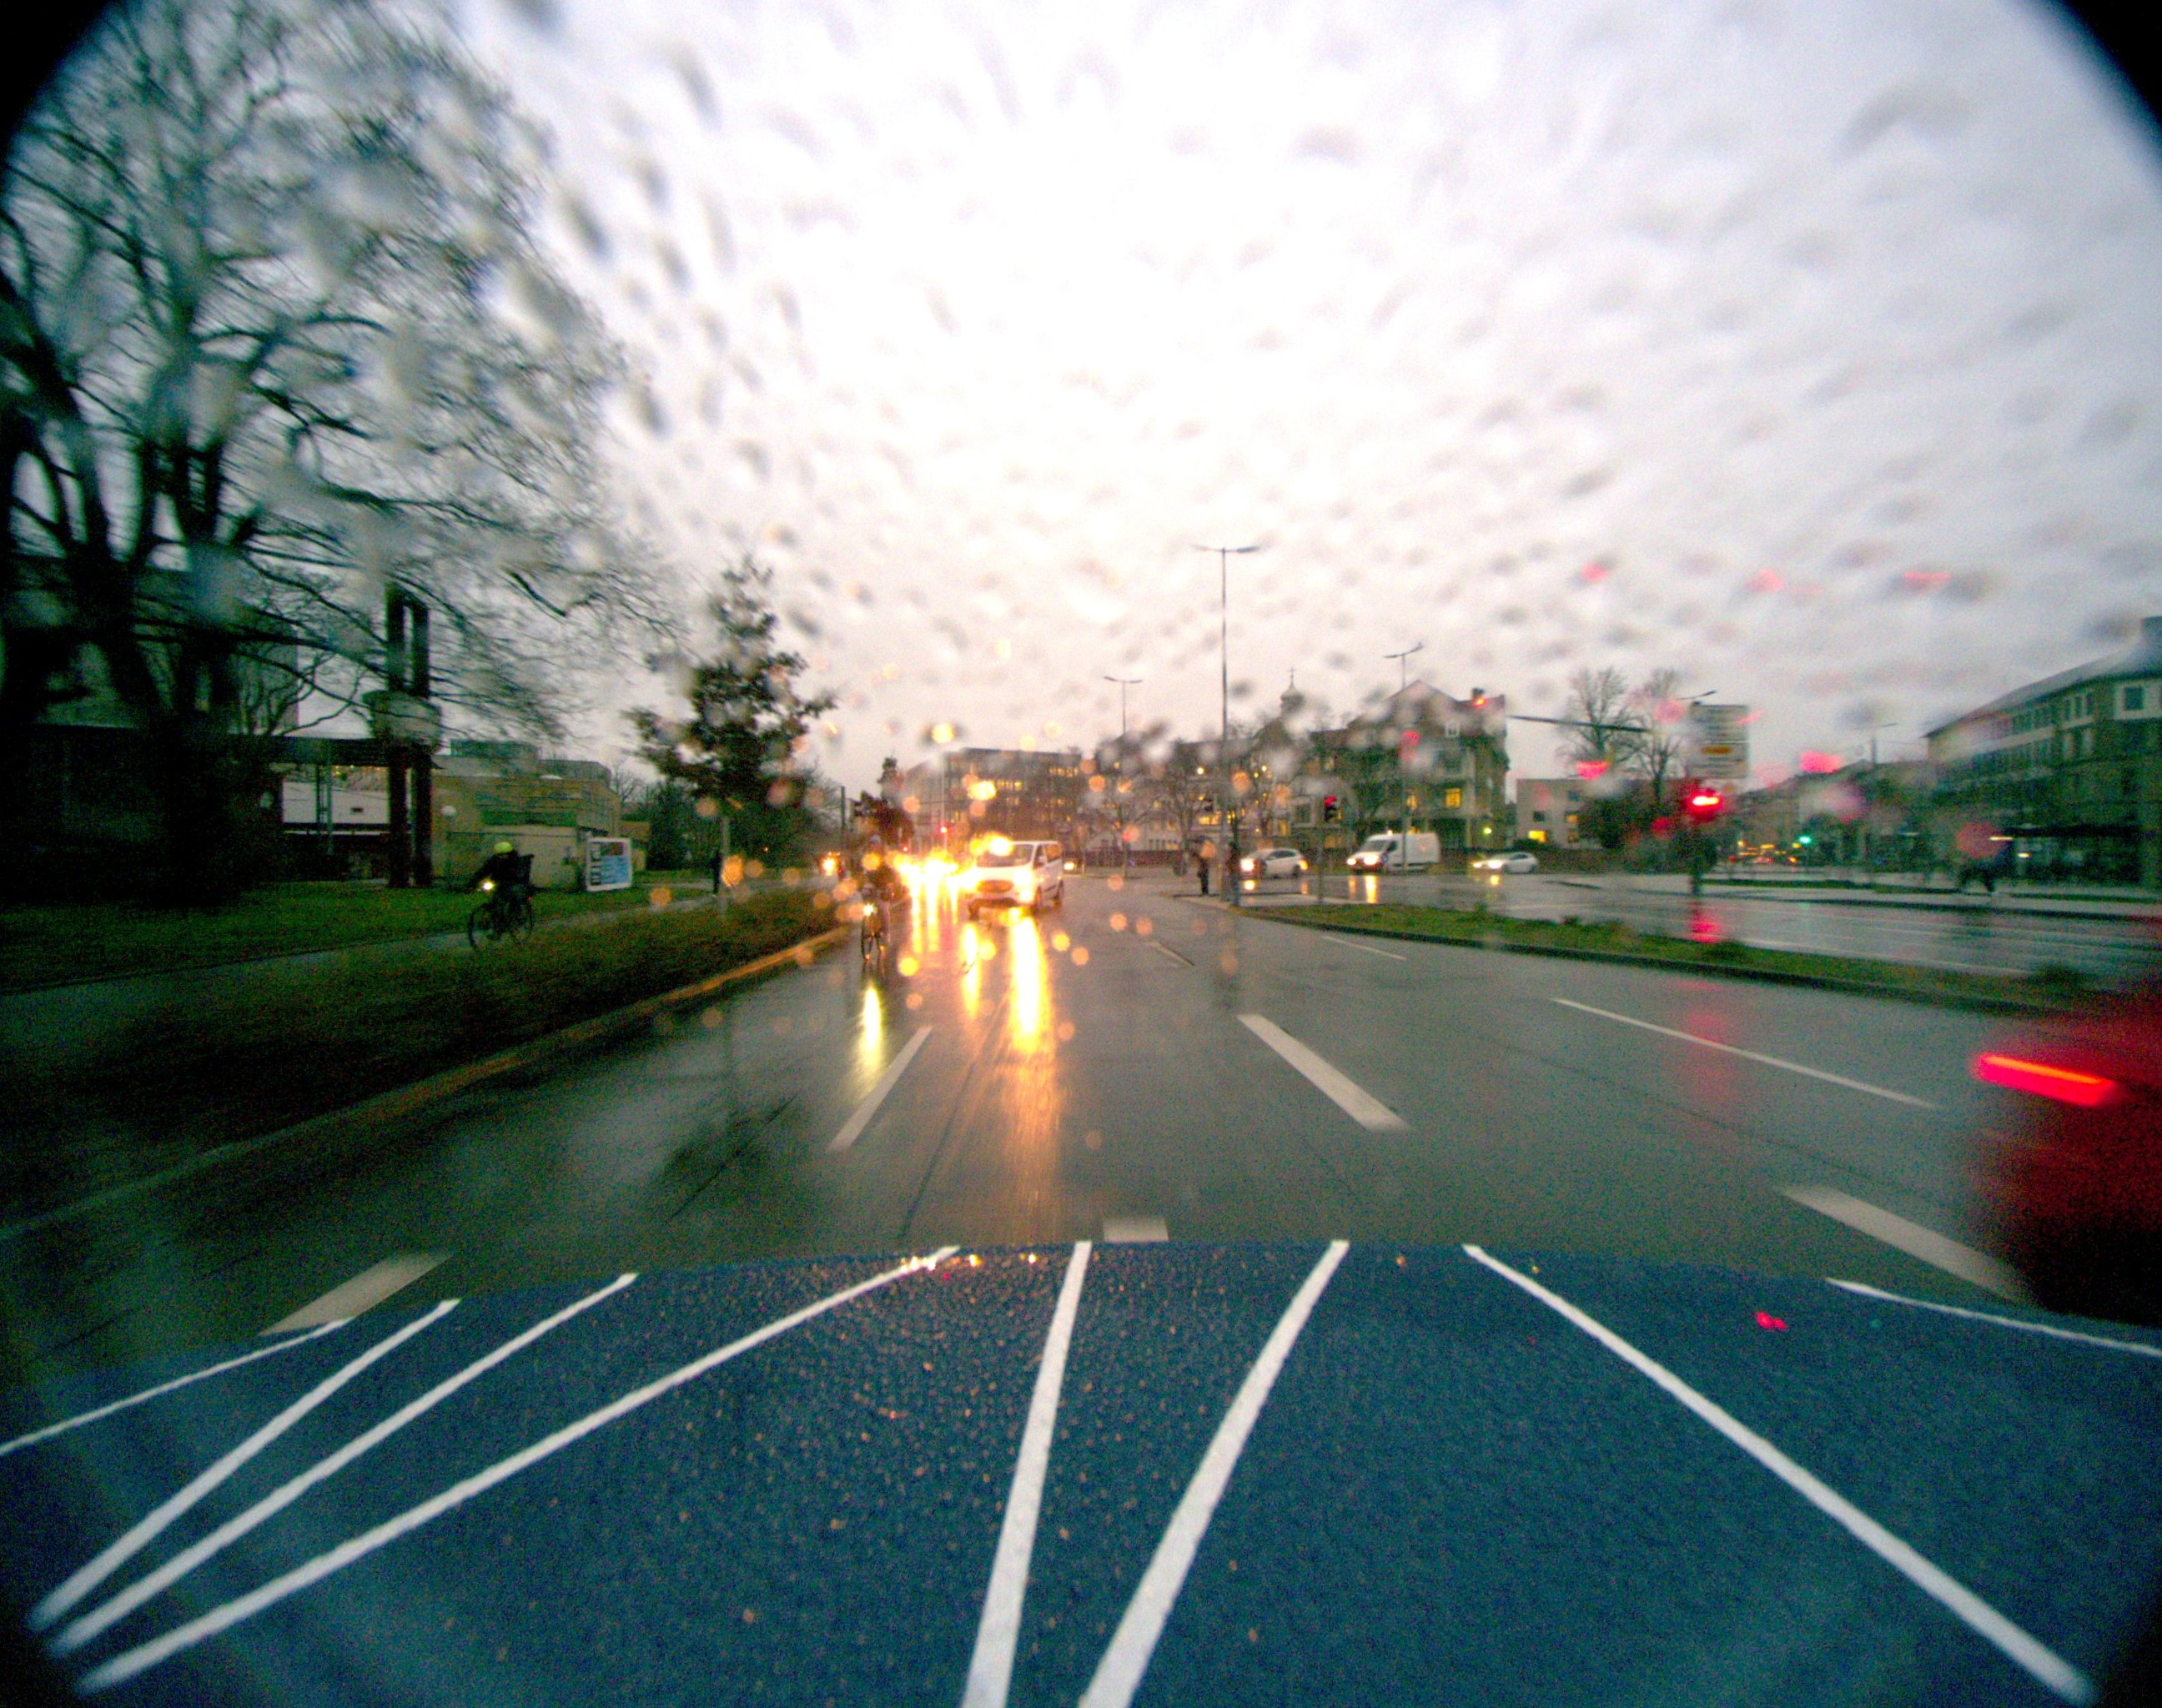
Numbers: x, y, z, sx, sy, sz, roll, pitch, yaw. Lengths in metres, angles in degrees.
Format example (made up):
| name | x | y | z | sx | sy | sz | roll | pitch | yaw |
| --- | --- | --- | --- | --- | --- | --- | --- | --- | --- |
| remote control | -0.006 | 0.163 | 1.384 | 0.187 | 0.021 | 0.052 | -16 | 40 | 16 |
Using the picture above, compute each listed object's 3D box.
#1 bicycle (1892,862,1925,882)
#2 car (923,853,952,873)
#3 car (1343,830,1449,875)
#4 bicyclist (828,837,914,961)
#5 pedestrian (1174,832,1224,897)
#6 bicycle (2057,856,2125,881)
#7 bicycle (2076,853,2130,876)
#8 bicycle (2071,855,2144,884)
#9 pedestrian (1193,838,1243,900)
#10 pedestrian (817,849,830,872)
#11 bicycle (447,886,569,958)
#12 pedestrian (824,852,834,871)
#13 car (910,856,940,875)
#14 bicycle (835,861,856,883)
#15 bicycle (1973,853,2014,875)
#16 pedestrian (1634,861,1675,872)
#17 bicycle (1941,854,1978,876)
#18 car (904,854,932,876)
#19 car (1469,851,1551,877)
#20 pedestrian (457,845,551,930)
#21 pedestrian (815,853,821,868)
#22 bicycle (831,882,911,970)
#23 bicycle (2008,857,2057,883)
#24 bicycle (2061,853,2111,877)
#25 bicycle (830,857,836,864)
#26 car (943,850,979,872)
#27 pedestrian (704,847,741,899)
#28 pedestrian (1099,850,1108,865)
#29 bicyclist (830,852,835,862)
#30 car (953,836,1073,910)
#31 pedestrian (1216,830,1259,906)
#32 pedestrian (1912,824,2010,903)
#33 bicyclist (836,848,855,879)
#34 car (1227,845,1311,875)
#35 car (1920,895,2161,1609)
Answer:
| name | x | y | z | sx | sy | sz | roll | pitch | yaw |
| --- | --- | --- | --- | --- | --- | --- | --- | --- | --- |
| bicycle | 45.508 | 1.002 | 41.813 | 0.645 | 1.098 | 2.757 | -2 | -2 | 35 |
| car | -13.460 | 0.837 | 71.088 | 2.002 | 1.739 | 4.462 | 0 | 0 | -20 |
| car | 18.592 | -0.081 | 44.863 | 5.875 | 2.502 | 2.344 | 0 | -2 | -24 |
| bicyclist | -3.352 | 0.684 | 12.262 | 1.027 | 1.872 | 1.235 | -2 | 1 | -3 |
| pedestrian | 3.827 | 0.359 | 24.651 | 1.217 | 2.037 | 1.033 | 0 | -2 | -34 |
| bicycle | 46.182 | 0.653 | 34.786 | 0.645 | 1.098 | 2.756 | -2 | -1 | 26 |
| bicycle | 51.479 | 0.540 | 38.294 | 0.645 | 1.098 | 2.757 | -2 | -2 | 32 |
| bicycle | 40.984 | 0.589 | 30.374 | 0.606 | 1.098 | 2.756 | -2 | -1 | 28 |
| pedestrian | 4.219 | 0.479 | 23.463 | 1.037 | 1.846 | 1.068 | 0 | -2 | -36 |
| pedestrian | -20.643 | 0.543 | 60.916 | 0.934 | 1.815 | 0.832 | 0 | 1 | -20 |
| bicycle | -9.218 | 1.057 | 12.341 | 0.563 | 0.941 | 2.094 | 0 | 1 | -5 |
| pedestrian | -24.939 | 0.758 | 75.151 | 0.934 | 1.815 | 0.832 | 0 | 1 | -20 |
| car | -12.689 | 0.899 | 61.603 | 1.776 | 1.478 | 4.462 | 0 | 0 | -20 |
| bicycle | -12.968 | 0.984 | 41.851 | 0.806 | 1.135 | 2.211 | 3 | 0 | -10 |
| bicycle | 48.125 | 0.561 | 40.096 | 0.645 | 1.098 | 2.757 | -2 | -2 | 35 |
| pedestrian | 54.634 | 1.206 | 72.380 | 3.091 | 0.924 | 0.951 | -2 | -3 | 37 |
| bicycle | 47.205 | 0.605 | 40.851 | 0.645 | 1.098 | 2.757 | -2 | -2 | 35 |
| car | -14.477 | 0.948 | 67.368 | 2.002 | 1.827 | 3.993 | 0 | 0 | -18 |
| car | 27.407 | 0.618 | 48.553 | 4.821 | 1.634 | 1.836 | 0 | 1 | -19 |
| pedestrian | -9.215 | 0.519 | 12.177 | 0.877 | 1.309 | 0.848 | 0 | 1 | -6 |
| pedestrian | -36.155 | 0.872 | 104.575 | 0.767 | 2.002 | 0.771 | 0 | 1 | -21 |
| bicycle | -3.342 | 1.111 | 12.269 | 0.794 | 1.215 | 1.903 | -2 | 0 | -3 |
| bicycle | 43.252 | 0.739 | 34.572 | 0.645 | 1.098 | 2.757 | -2 | -2 | 35 |
| bicycle | 49.475 | 0.566 | 37.437 | 0.645 | 1.098 | 2.757 | -2 | -2 | 35 |
| bicycle | -38.387 | 0.948 | 117.476 | 0.795 | 1.009 | 2.898 | 0 | 0 | -19 |
| car | -10.004 | 0.550 | 63.116 | 2.002 | 1.739 | 4.936 | 0 | 0 | -20 |
| pedestrian | -11.969 | 0.644 | 25.386 | 0.913 | 1.677 | 0.926 | 1 | -1 | -15 |
| pedestrian | 2.854 | 0.462 | 97.243 | 0.809 | 1.820 | 0.946 | 0 | 1 | -24 |
| bicyclist | -38.397 | 0.427 | 117.496 | 0.768 | 1.481 | 0.992 | 0 | 1 | -19 |
| car | -1.825 | 0.595 | 22.345 | 2.135 | 1.909 | 5.023 | -1 | -2 | 11 |
| pedestrian | 4.220 | 0.378 | 20.589 | 0.848 | 1.993 | 1.109 | -1 | -2 | -4 |
| pedestrian | 21.395 | 0.239 | 18.491 | 1.036 | 1.846 | 1.233 | 0 | -2 | -22 |
| bicyclist | -12.955 | 0.520 | 41.863 | 0.806 | 1.608 | 1.085 | 3 | 0 | -10 |
| car | 10.050 | 0.334 | 40.532 | 4.324 | 1.494 | 1.752 | 0 | -2 | -29 |
| car | 3.214 | 0.836 | 0.134 | 1.705 | 1.473 | 3.870 | -3 | 0 | -3 |
